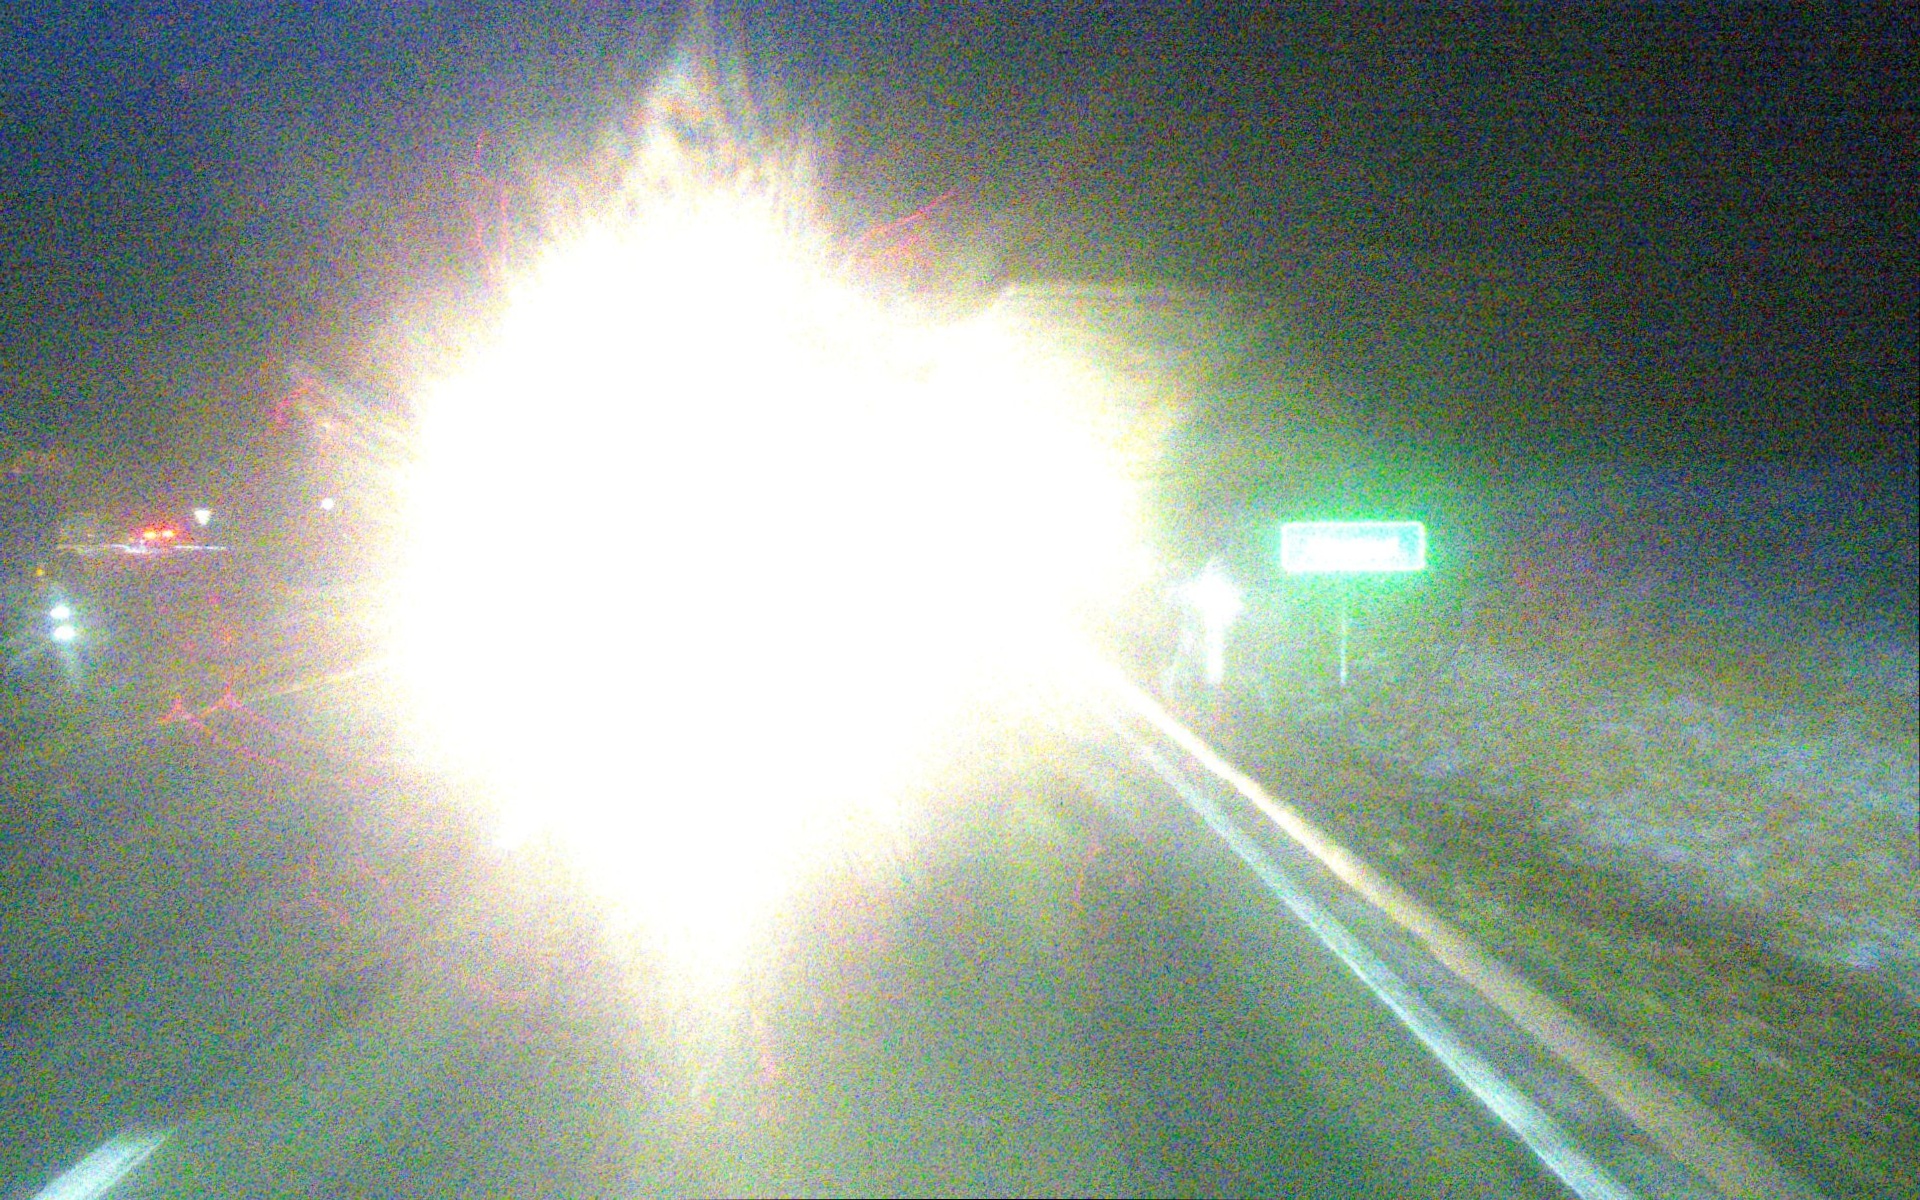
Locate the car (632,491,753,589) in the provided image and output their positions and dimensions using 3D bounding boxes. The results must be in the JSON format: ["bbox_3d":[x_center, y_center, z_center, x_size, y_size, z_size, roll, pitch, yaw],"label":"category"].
[{"bbox_3d":[-6.844,-1.511,88.688,2.752,2.261,6.262,-4,0,-2],"label":"car"}]
